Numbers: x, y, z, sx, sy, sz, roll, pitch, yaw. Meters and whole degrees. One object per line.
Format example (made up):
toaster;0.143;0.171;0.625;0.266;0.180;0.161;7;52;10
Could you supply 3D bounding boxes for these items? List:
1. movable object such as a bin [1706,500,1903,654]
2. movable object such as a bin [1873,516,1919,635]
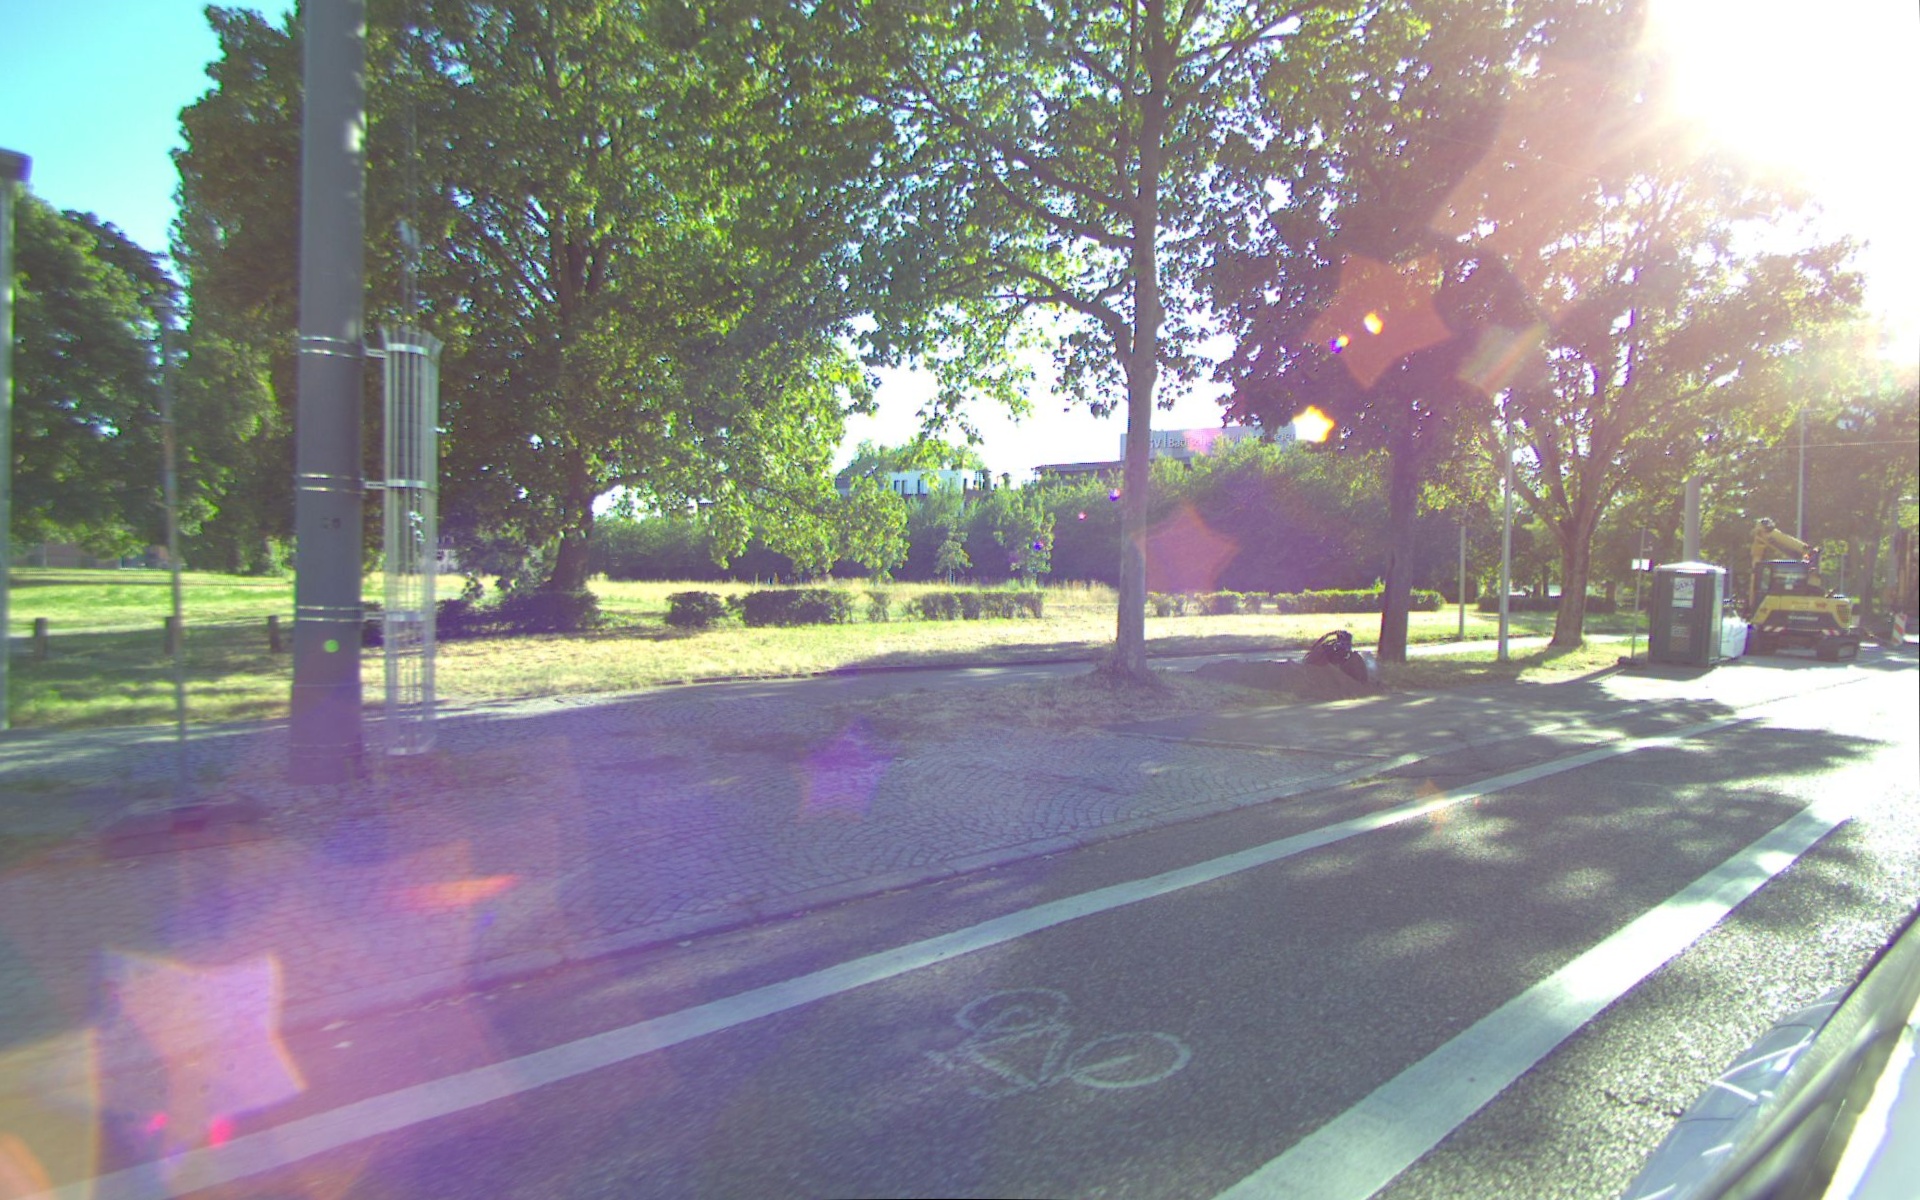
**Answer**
movable object such as a bin;25.380;-0.722;30.286;7.469;4.024;3.345;0;4;-43
movable object such as a bin;40.815;-0.932;42.334;7.469;4.666;2.920;0;4;-43
